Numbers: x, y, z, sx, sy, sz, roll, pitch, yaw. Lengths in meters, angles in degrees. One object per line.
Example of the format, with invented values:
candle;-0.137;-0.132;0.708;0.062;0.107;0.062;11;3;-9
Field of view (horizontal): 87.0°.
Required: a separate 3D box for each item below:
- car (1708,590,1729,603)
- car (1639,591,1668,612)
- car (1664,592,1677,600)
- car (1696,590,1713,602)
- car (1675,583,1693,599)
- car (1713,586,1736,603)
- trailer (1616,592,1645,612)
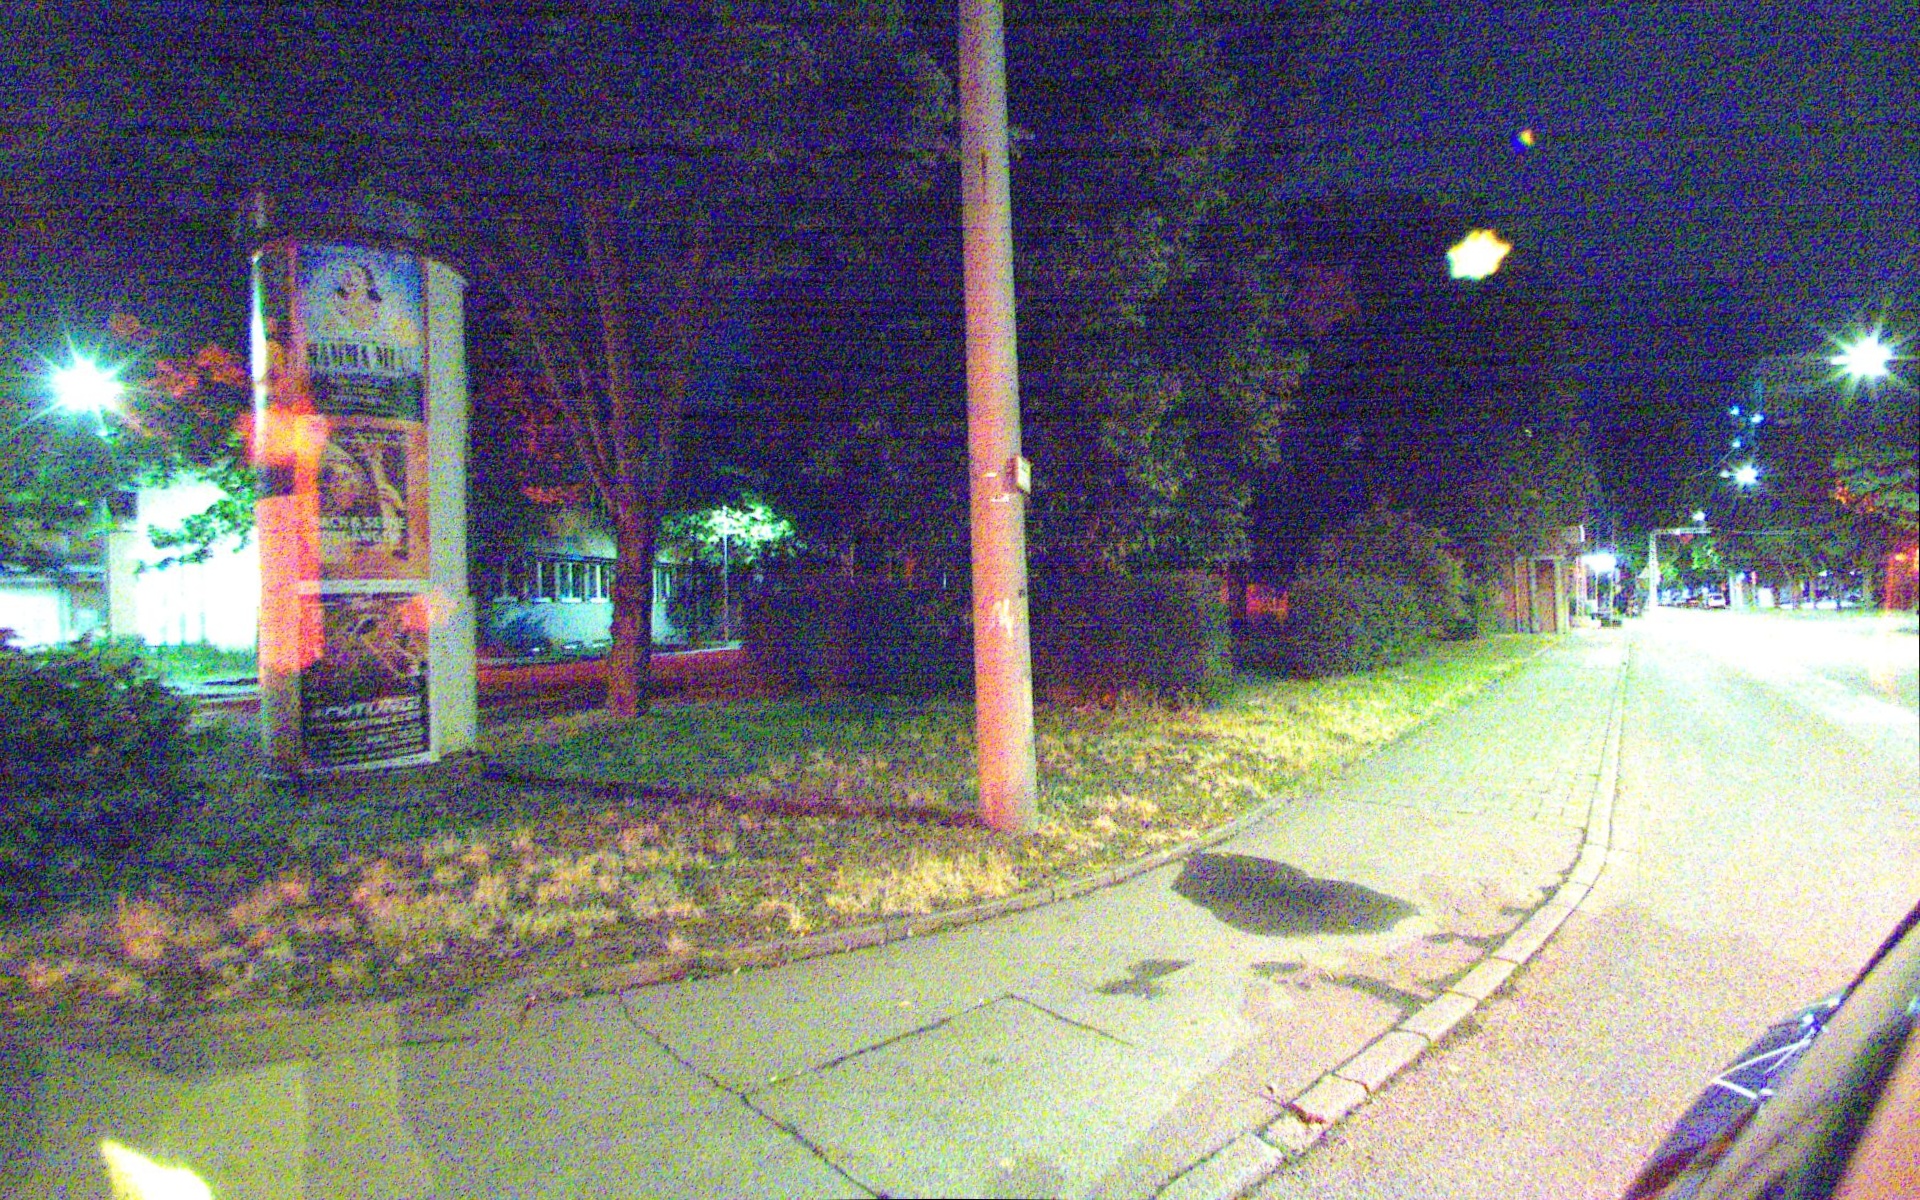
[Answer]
car;91.713;-0.398;122.349;1.815;1.450;3.684;-5;-3;35
car;50.443;0.098;73.566;1.582;1.480;3.747;-3;-1;36
car;141.345;-0.821;201.449;1.813;1.450;3.689;-5;-2;32
car;103.504;-0.586;140.683;1.815;1.668;3.684;-1;0;35
car;127.390;-1.568;178.140;1.990;2.540;4.898;-5;-3;32
car;88.655;-0.646;117.369;1.871;1.832;3.684;-5;-3;35
trailer;53.993;0.180;81.467;1.596;1.514;3.683;-3;-2;37
